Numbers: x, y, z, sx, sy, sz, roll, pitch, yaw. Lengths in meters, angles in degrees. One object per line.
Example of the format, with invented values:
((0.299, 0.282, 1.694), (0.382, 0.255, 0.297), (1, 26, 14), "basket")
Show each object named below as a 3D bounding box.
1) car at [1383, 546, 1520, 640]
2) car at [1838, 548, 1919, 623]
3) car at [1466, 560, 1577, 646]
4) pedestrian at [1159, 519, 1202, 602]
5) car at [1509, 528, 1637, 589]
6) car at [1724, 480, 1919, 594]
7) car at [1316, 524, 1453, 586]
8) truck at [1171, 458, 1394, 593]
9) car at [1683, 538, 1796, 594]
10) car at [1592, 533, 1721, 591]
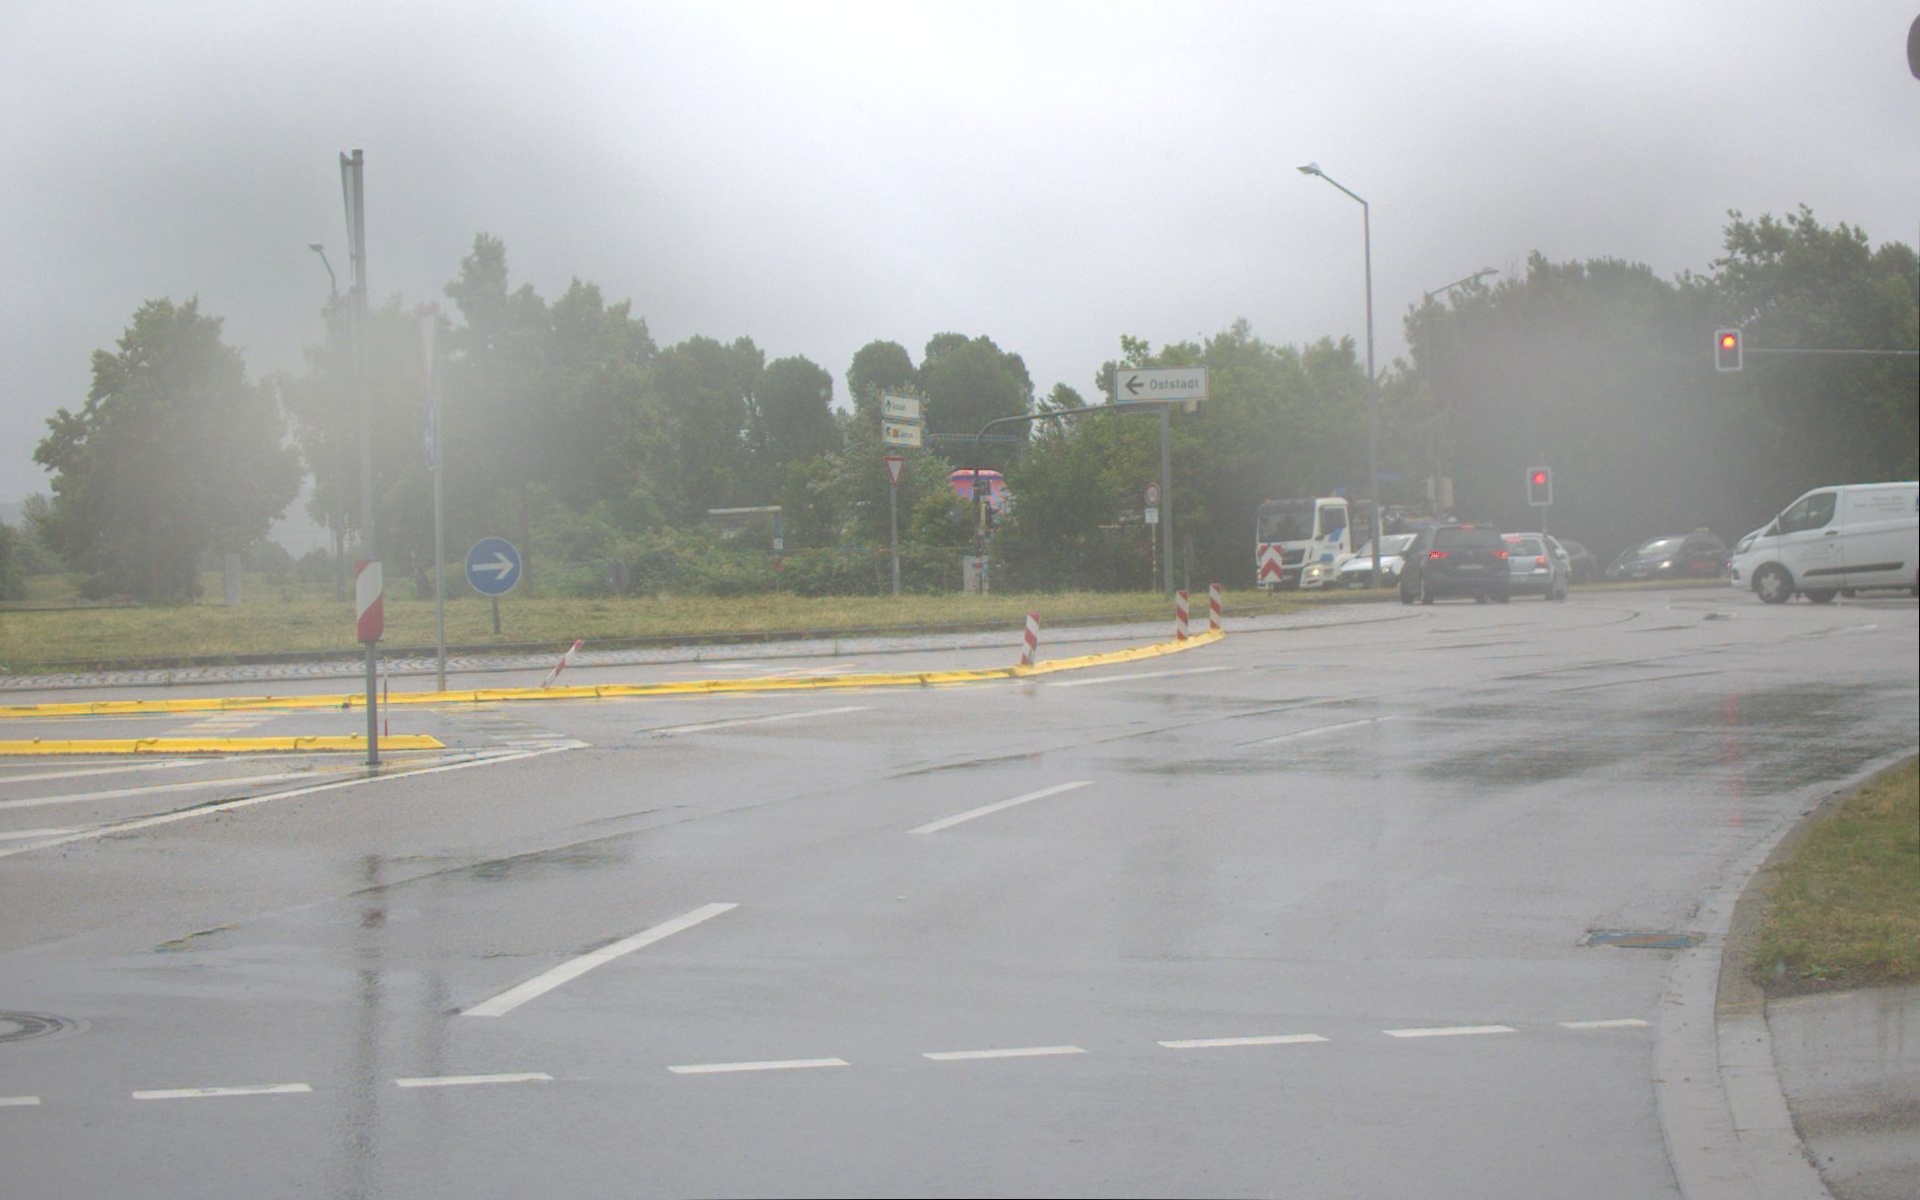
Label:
((10.072, -0.147, 70.756), (1.993, 1.845, 4.776), (1, 0, -2), "car")
((19.120, -0.314, 71.191), (1.619, 1.449, 3.986), (-1, 1, 12), "car")
((12.638, 0.065, 77.166), (1.995, 1.845, 4.772), (1, 0, 15), "car")
((3.481, -0.629, 54.318), (0.453, 1.300, 0.485), (-1, 1, 38), "pedestrian")
((17.491, -1.166, 98.001), (1.800, 1.656, 3.990), (1, 0, 41), "car")
((15.331, -1.026, 57.028), (4.770, 1.845, 1.996), (1, 0, 36), "car")
((11.919, -1.253, 96.307), (1.800, 1.656, 4.124), (1, 0, 41), "car")
((7.054, -1.538, 74.090), (2.464, 2.677, 8.049), (1, 0, 23), "truck")
((24.467, -1.063, 107.837), (1.800, 1.656, 3.990), (1, 0, 40), "car")
((20.666, -1.118, 101.919), (1.800, 1.656, 4.399), (1, 0, 41), "car")
